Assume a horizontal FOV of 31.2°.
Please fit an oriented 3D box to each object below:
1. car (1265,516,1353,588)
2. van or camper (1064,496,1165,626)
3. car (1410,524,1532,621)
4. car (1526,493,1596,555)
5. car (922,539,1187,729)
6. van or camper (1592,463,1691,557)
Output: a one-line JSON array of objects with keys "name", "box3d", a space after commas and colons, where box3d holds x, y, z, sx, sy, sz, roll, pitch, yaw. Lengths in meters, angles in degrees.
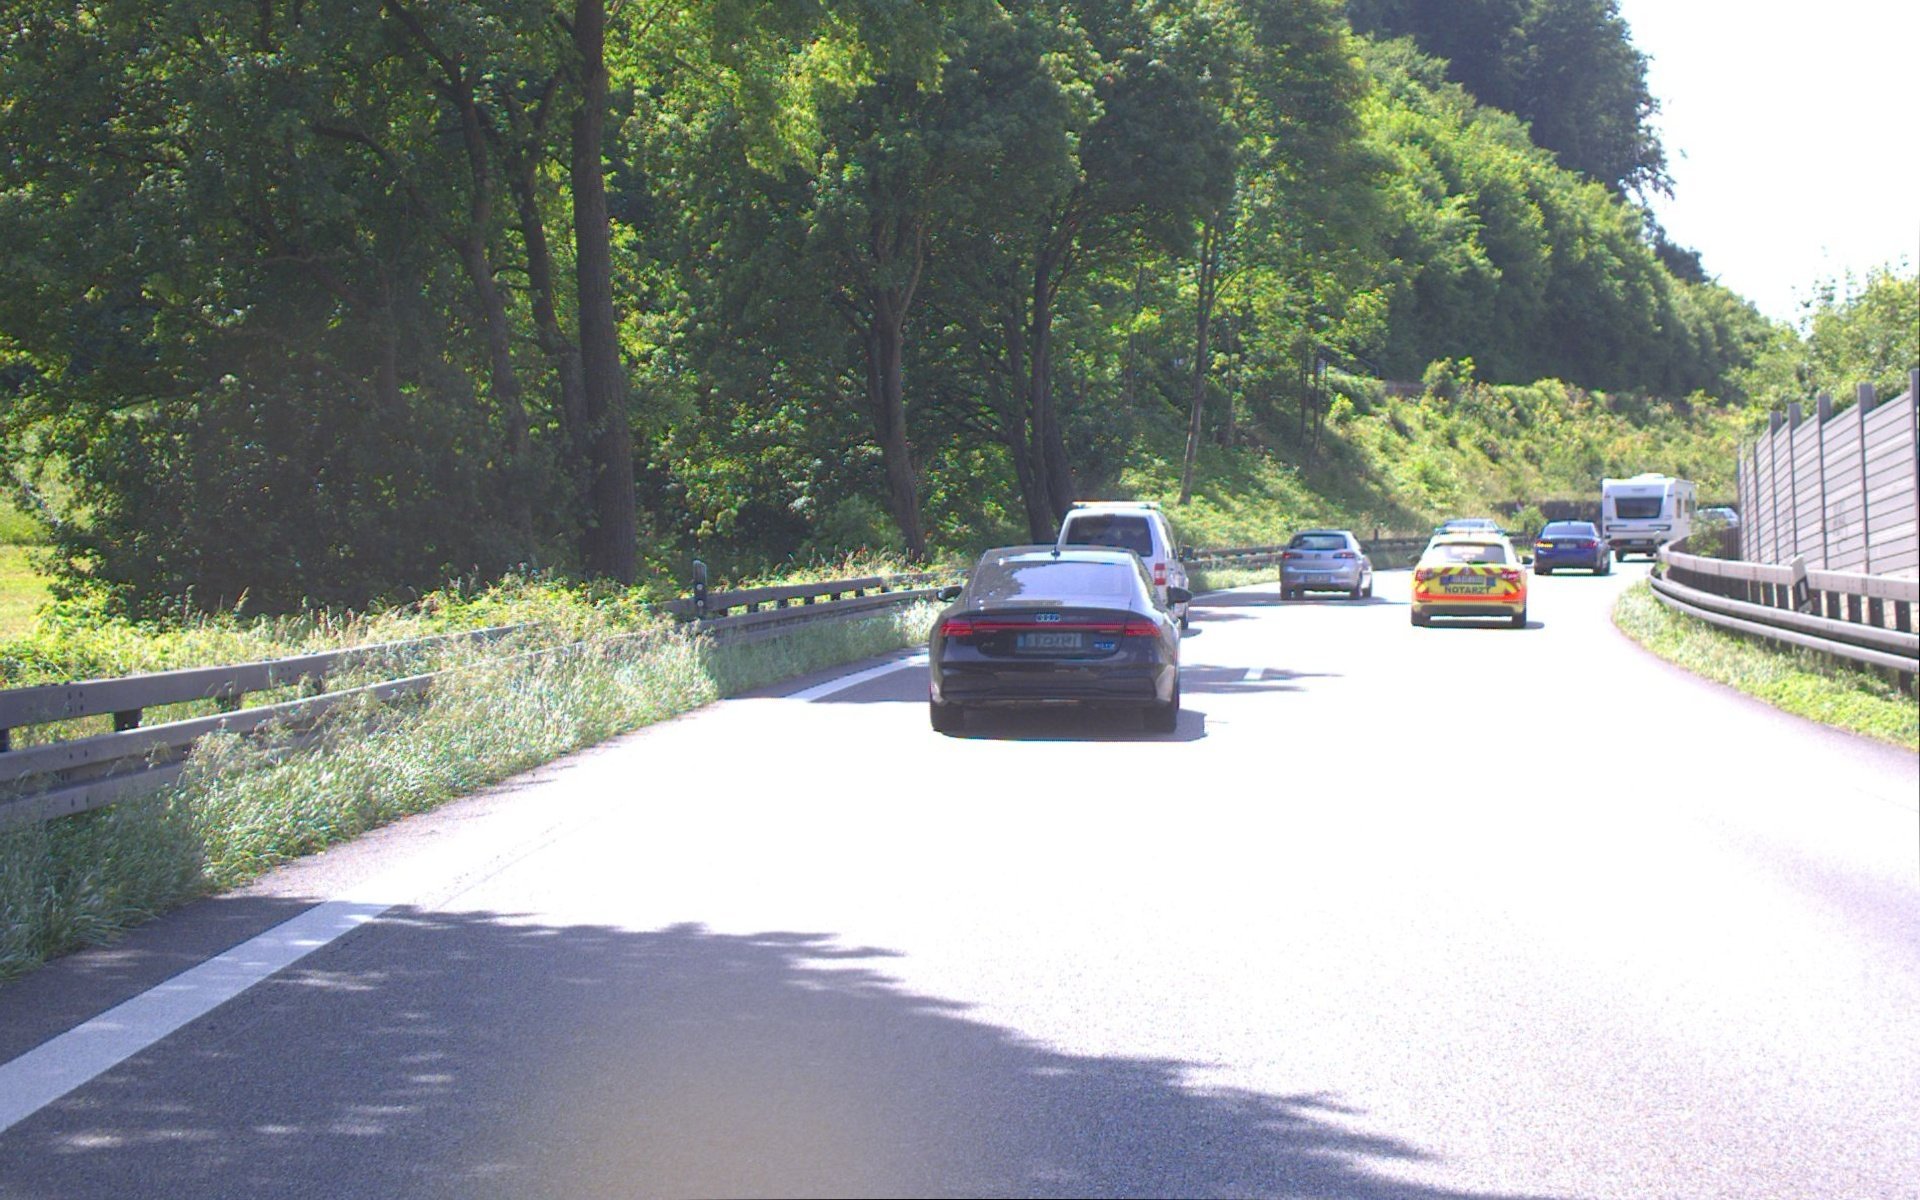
[{"name": "car", "box3d": [7.197, -0.986, 70.635, 1.747, 1.426, 3.999, 0, 1, 7]}, {"name": "van or camper", "box3d": [2.235, -0.570, 50.162, 1.392, 1.809, 4.000, 0, 1, 2]}, {"name": "car", "box3d": [8.199, -0.450, 55.025, 1.863, 1.483, 3.999, 0, 1, 9]}, {"name": "car", "box3d": [16.377, -2.039, 93.508, 1.774, 1.631, 3.998, 0, 1, 11]}, {"name": "car", "box3d": [0.819, 0.232, 27.131, 1.838, 1.345, 3.999, 1, 0, 5]}, {"name": "van or camper", "box3d": [21.942, -2.859, 110.561, 2.457, 2.908, 6.121, 0, 1, 17]}]
